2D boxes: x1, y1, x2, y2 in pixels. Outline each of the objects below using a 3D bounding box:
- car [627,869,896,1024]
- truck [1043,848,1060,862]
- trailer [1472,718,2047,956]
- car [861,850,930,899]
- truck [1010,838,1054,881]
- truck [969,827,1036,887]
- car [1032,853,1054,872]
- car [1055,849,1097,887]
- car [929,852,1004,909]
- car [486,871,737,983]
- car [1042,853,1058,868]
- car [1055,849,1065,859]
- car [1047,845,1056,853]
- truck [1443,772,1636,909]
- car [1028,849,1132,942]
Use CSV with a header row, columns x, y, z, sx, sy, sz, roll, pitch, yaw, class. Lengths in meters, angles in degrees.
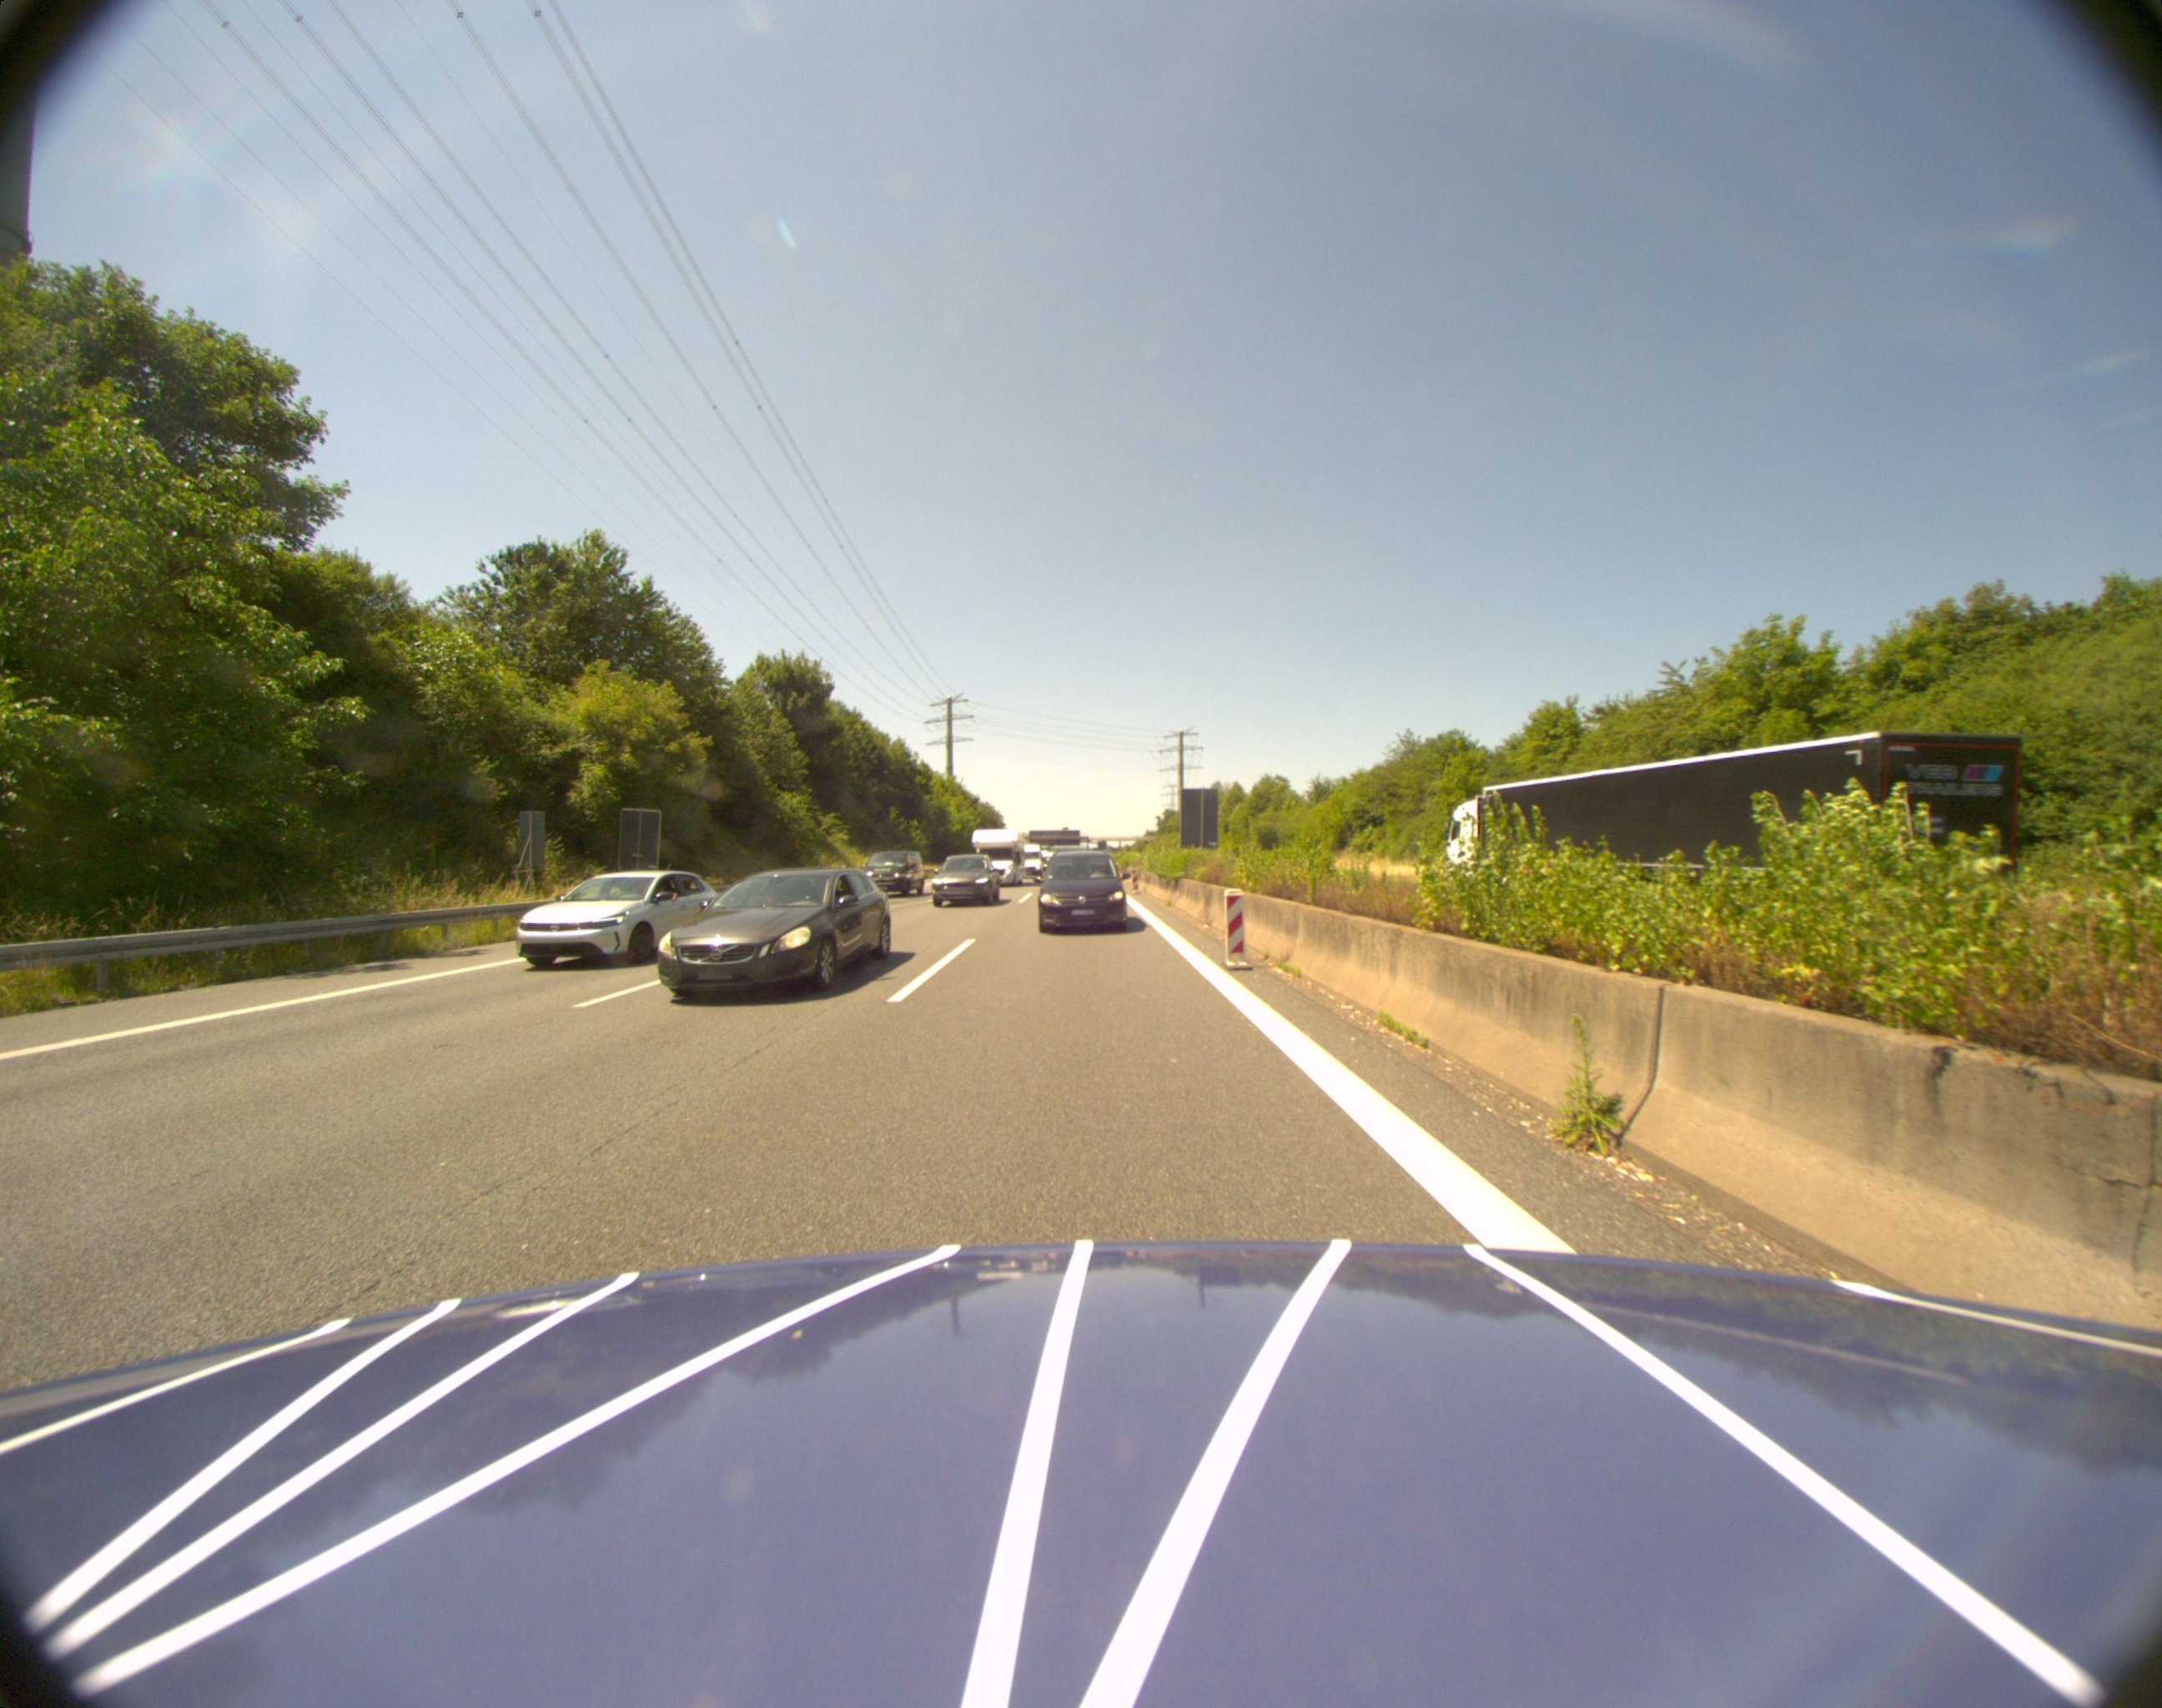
x,y,z,sx,sy,sz,roll,pitch,yaw,class
-3.854,1.009,10.059,1.801,1.429,4.230,-2,1,-1,car
-4.816,0.116,126.396,2.409,2.203,6.743,-2,1,1,truck
15.755,-0.352,20.668,2.760,4.143,14.195,2,0,0,trailer
-7.918,0.800,32.852,1.788,1.893,4.697,-2,1,0,car
-3.681,0.356,59.636,2.514,2.997,9.897,-2,1,1,truck
-4.312,0.114,43.786,2.514,2.997,9.897,-2,1,1,truck
-3.553,0.765,71.203,1.892,1.693,4.382,-2,1,-1,car
-0.271,0.633,37.632,1.892,1.693,4.382,-2,1,-1,car
-3.758,0.808,25.683,1.892,1.693,4.382,-2,1,-1,car
-7.735,1.103,13.050,1.745,1.461,4.013,-2,0,0,car
-3.789,0.822,93.877,1.892,1.693,4.382,-2,1,-1,car
-4.378,-0.047,158.708,1.998,2.002,3.999,-2,1,0,car
-7.897,-1.357,202.960,1.998,2.002,3.999,-2,1,0,car
15.784,-0.441,26.819,2.758,4.143,6.410,2,1,0,truck
-0.069,0.767,16.490,1.892,1.693,4.382,-2,1,-1,car
